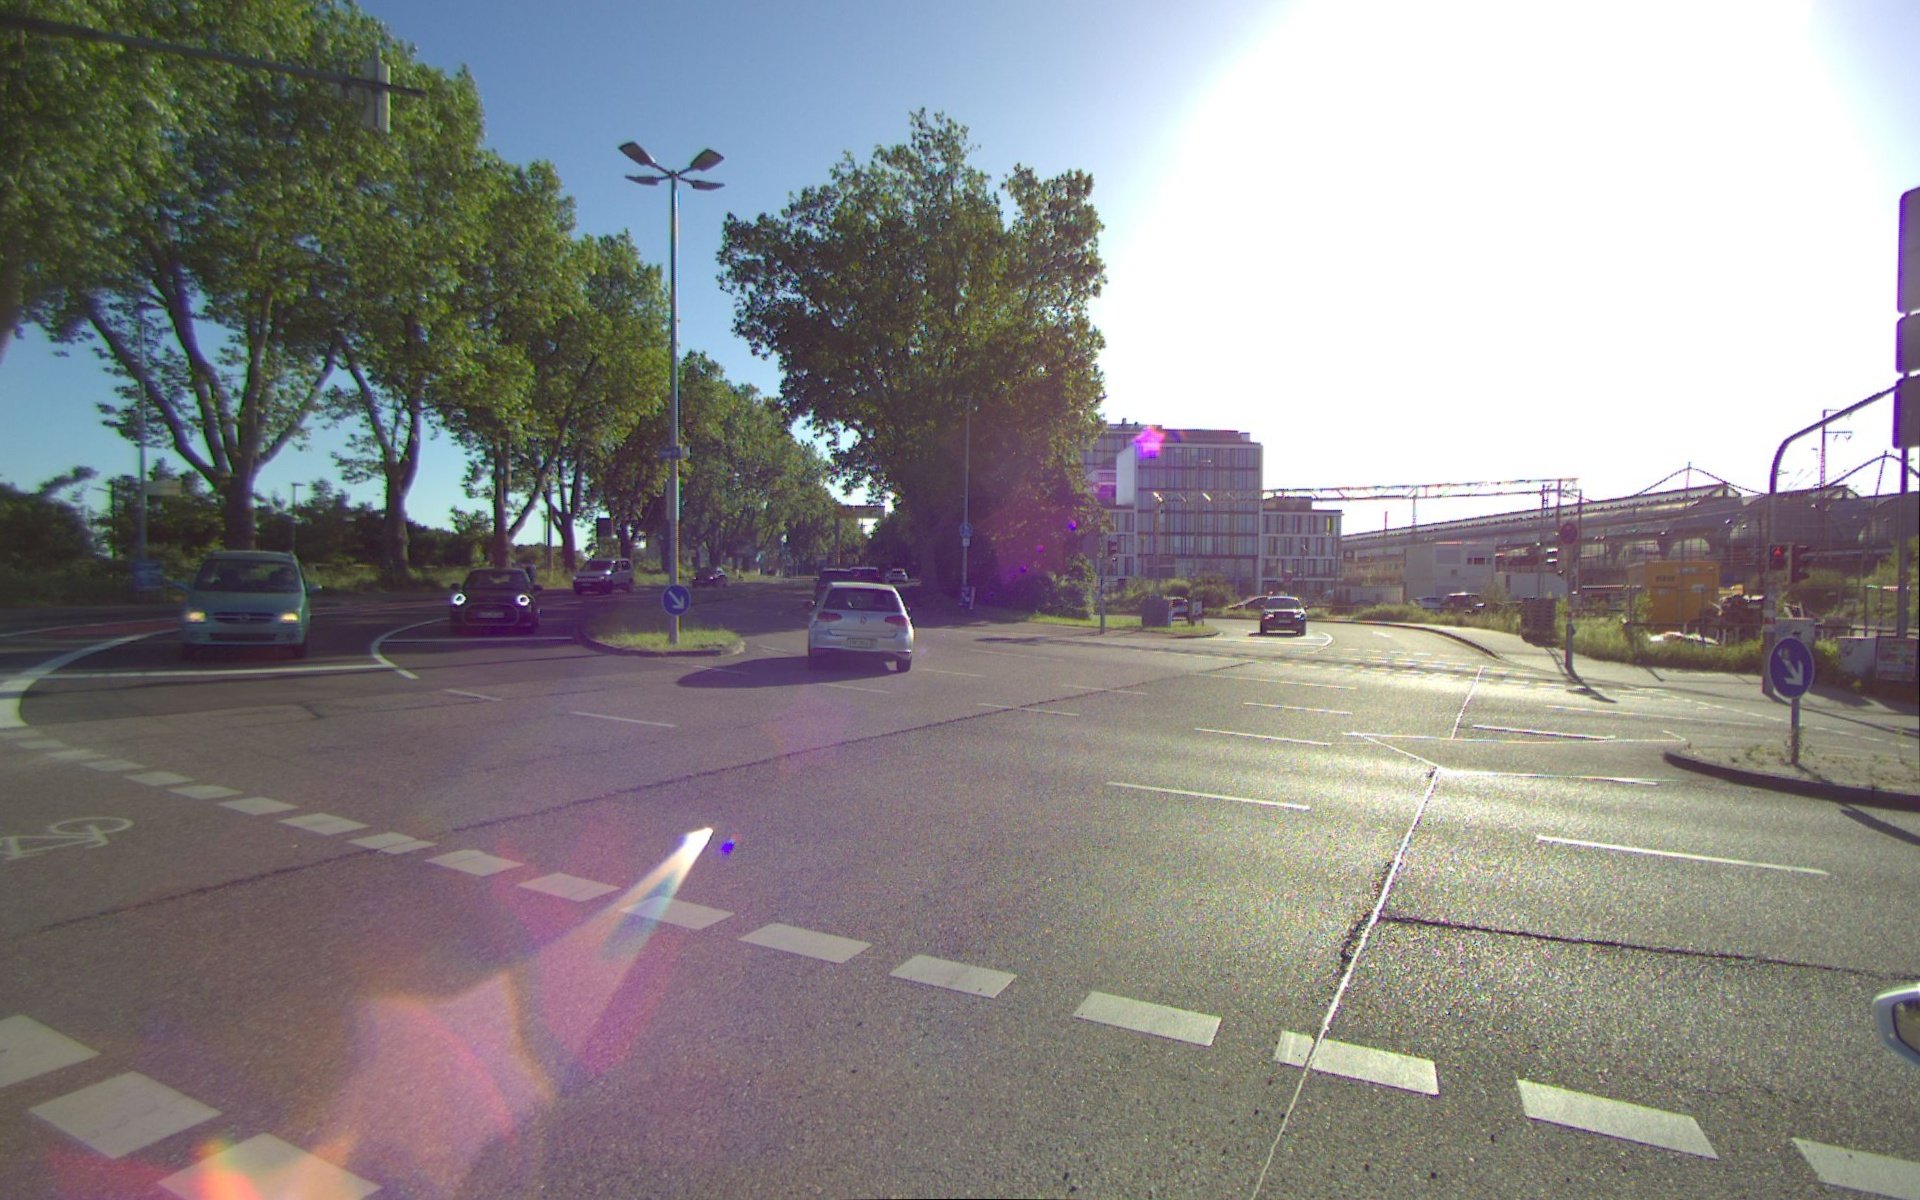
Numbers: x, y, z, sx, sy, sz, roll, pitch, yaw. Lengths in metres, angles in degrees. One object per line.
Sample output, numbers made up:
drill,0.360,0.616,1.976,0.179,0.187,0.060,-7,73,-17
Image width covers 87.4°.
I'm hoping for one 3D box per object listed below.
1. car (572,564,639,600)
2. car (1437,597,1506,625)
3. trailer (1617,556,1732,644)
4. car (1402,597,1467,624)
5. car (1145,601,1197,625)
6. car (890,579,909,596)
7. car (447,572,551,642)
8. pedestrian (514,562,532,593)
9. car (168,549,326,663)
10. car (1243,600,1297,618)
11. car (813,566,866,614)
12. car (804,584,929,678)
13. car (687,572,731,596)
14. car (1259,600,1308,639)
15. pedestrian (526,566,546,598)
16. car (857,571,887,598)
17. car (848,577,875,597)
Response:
car,-18.127,-0.921,51.606,1.823,1.767,4.266,1,1,1
car,35.610,0.736,70.030,3.919,1.728,1.616,2,1,7
trailer,30.076,0.001,42.564,2.950,3.336,6.658,3,1,28
car,34.944,0.759,74.041,3.919,1.812,1.656,2,1,7
car,14.315,0.867,68.283,1.726,1.496,3.984,1,1,-18
car,-6.227,-1.278,102.948,1.824,1.672,4.263,1,1,-4
car,-10.539,0.122,23.212,1.881,1.446,3.917,2,1,-21
pedestrian,-22.892,-1.186,52.598,0.652,1.607,0.631,1,1,0
car,-11.703,0.053,16.730,1.900,1.658,4.084,1,1,-32
car,35.668,0.977,115.515,5.616,1.869,1.915,2,1,-7
car,-5.208,-0.430,42.832,2.081,1.913,4.805,1,1,-9
car,-1.731,0.503,17.802,1.940,1.446,3.931,1,0,-8
car,-18.154,-1.134,72.856,1.822,1.620,4.326,2,1,3
car,13.511,0.774,41.895,1.719,1.496,3.999,2,1,21
pedestrian,-22.157,-0.943,52.496,0.716,1.613,0.804,1,1,0
car,-5.893,-1.030,67.095,1.912,1.736,4.196,1,1,-5
car,-9.111,-1.192,93.307,1.822,1.767,4.267,1,1,2
